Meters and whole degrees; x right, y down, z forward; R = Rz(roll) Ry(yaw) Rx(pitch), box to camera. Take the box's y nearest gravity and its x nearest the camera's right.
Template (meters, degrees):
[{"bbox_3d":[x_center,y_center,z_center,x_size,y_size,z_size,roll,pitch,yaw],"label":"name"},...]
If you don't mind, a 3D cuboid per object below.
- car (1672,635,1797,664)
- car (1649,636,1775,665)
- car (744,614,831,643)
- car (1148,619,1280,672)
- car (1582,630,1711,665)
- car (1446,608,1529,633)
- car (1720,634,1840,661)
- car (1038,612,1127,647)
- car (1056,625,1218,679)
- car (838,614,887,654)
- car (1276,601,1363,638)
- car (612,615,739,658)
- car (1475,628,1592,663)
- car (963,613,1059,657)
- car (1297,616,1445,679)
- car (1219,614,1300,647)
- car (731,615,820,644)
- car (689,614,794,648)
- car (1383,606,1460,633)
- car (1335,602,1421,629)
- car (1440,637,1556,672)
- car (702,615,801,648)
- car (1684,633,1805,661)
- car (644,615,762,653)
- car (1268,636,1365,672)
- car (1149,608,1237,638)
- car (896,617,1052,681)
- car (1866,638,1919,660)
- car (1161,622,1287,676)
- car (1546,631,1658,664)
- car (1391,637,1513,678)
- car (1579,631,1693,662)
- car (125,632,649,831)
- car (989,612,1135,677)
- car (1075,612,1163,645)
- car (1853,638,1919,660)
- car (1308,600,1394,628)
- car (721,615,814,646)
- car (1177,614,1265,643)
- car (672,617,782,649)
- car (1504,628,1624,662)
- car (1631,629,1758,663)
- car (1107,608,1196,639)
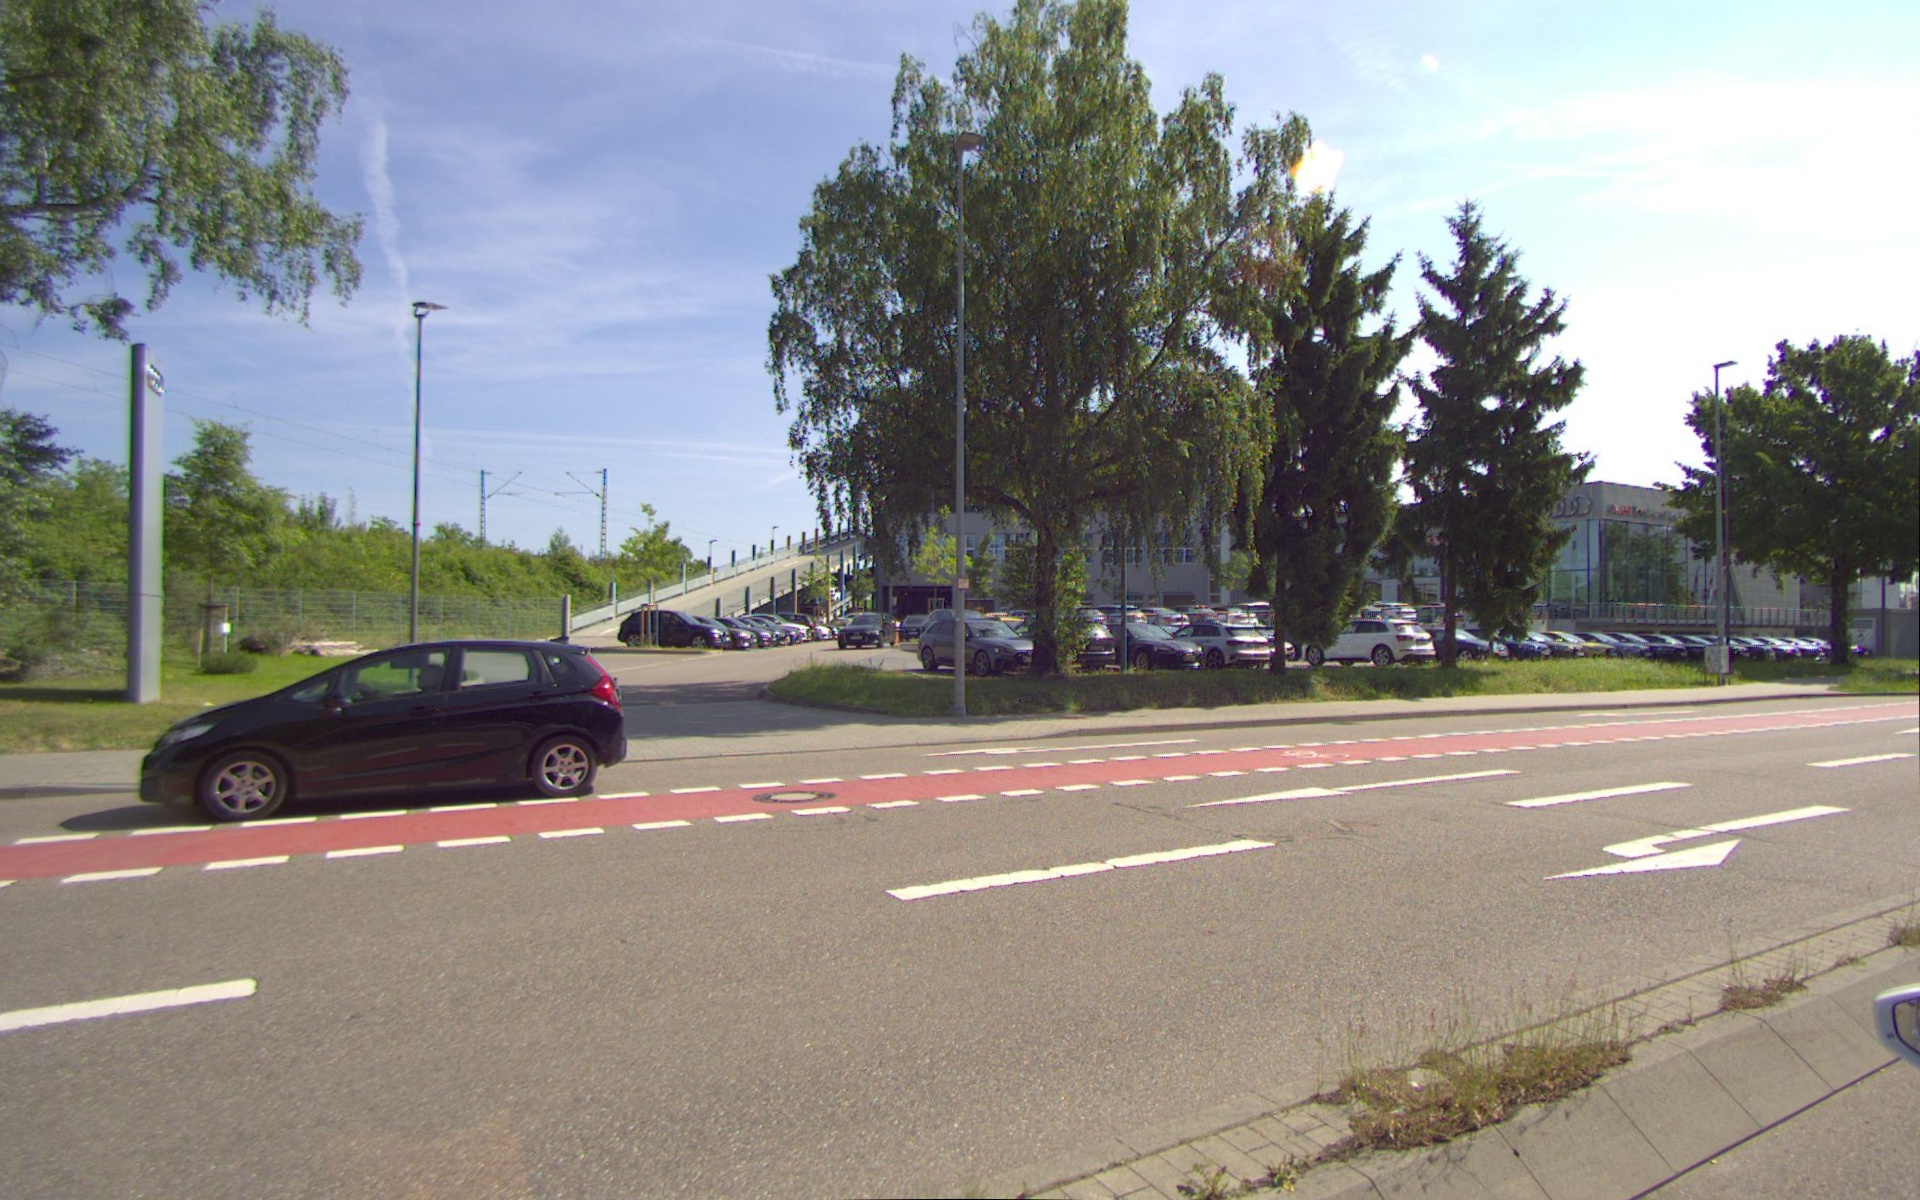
[{"bbox_3d":[37.878,2.392,49.245,1.898,1.307,4.477,1,-2,-31],"label":"car"},{"bbox_3d":[36.102,2.384,48.348,1.898,1.307,4.477,1,-2,-31],"label":"car"},{"bbox_3d":[-10.322,1.690,60.376,4.863,1.569,2.000,1,0,1],"label":"car"},{"bbox_3d":[7.524,1.326,29.999,1.795,1.389,3.663,1,0,-29],"label":"car"},{"bbox_3d":[31.217,2.143,45.808,1.957,1.495,4.477,1,-2,-31],"label":"car"},{"bbox_3d":[34.288,1.295,65.397,1.962,1.516,4.498,1,0,-30],"label":"car"},{"bbox_3d":[42.623,2.460,52.300,1.898,1.307,4.477,1,-2,-31],"label":"car"},{"bbox_3d":[5.766,1.388,47.733,1.978,1.496,4.178,1,0,-32],"label":"car"},{"bbox_3d":[4.954,1.438,28.887,1.976,1.285,4.829,1,0,-29],"label":"car"},{"bbox_3d":[-4.104,1.412,42.756,1.628,1.567,4.036,1,0,1],"label":"car"},{"bbox_3d":[20.459,1.132,57.380,1.957,1.988,4.477,1,-2,-31],"label":"car"},{"bbox_3d":[-11.806,1.492,41.912,4.666,1.639,2.001,1,0,2],"label":"car"},{"bbox_3d":[22.893,1.832,40.201,1.644,1.302,3.724,1,-3,-31],"label":"car"},{"bbox_3d":[1.947,1.338,39.769,1.784,1.585,4.221,1,0,-31],"label":"car"},{"bbox_3d":[13.962,1.566,34.364,1.975,1.900,4.445,1,0,-28],"label":"car"},{"bbox_3d":[16.166,1.644,54.423,1.646,1.728,4.247,1,-2,-31],"label":"car"},{"bbox_3d":[-10.519,1.669,57.518,4.666,1.567,1.815,1,0,2],"label":"car"},{"bbox_3d":[-10.671,1.505,49.225,4.666,1.567,1.815,1,0,2],"label":"car"},{"bbox_3d":[28.638,1.194,62.423,2.027,1.516,3.968,1,0,-30],"label":"car"},{"bbox_3d":[24.977,0.946,60.137,1.957,1.504,4.477,1,-2,-31],"label":"car"},{"bbox_3d":[20.744,2.114,38.861,1.725,1.302,3.576,1,-3,-31],"label":"car"},{"bbox_3d":[-10.751,1.623,51.944,4.666,1.567,1.815,1,0,2],"label":"car"},{"bbox_3d":[39.270,2.325,50.385,1.672,1.307,4.477,1,-2,-31],"label":"car"},{"bbox_3d":[-11.384,1.476,44.681,4.666,1.545,2.001,1,0,2],"label":"car"},{"bbox_3d":[16.448,2.465,46.492,1.869,1.437,3.966,1,0,-31],"label":"car"},{"bbox_3d":[12.087,1.204,52.319,1.957,1.504,4.477,1,-2,-31],"label":"car"},{"bbox_3d":[0.254,1.210,26.080,1.976,1.408,4.665,1,0,-29],"label":"car"},{"bbox_3d":[57.531,2.916,60.365,1.933,1.205,4.154,1,-5,-31],"label":"car"},{"bbox_3d":[8.456,1.538,32.507,1.823,1.506,3.974,1,0,-26],"label":"car"},{"bbox_3d":[27.257,2.033,42.754,1.844,1.302,3.576,1,-3,-31],"label":"car"},{"bbox_3d":[18.312,2.110,37.510,1.725,1.302,3.771,1,0,-31],"label":"car"},{"bbox_3d":[29.609,2.060,44.058,1.963,1.302,3.662,1,-3,-31],"label":"car"},{"bbox_3d":[-5.184,1.100,9.568,3.980,1.538,1.690,1,-3,-31],"label":"car"},{"bbox_3d":[2.714,1.169,27.694,1.976,1.567,4.194,1,0,-29],"label":"car"},{"bbox_3d":[7.688,1.368,49.004,1.978,1.496,4.178,1,0,-32],"label":"car"},{"bbox_3d":[55.491,2.879,58.945,2.063,1.171,4.154,1,-5,-31],"label":"car"},{"bbox_3d":[22.811,0.859,58.780,1.957,1.571,4.477,1,-2,-31],"label":"car"},{"bbox_3d":[-10.487,1.641,55.029,4.666,1.567,1.815,1,0,2],"label":"car"},{"bbox_3d":[13.849,1.513,53.478,1.957,1.504,4.477,1,-2,-31],"label":"car"},{"bbox_3d":[-10.929,1.533,47.315,4.666,1.388,1.815,1,0,2],"label":"car"},{"bbox_3d":[25.017,1.890,41.713,1.819,1.358,3.868,1,-3,-31],"label":"car"},{"bbox_3d":[34.427,2.120,47.211,1.898,1.495,4.477,1,-2,-31],"label":"car"},{"bbox_3d":[9.587,1.180,50.634,1.869,1.437,4.476,1,0,-31],"label":"car"}]
